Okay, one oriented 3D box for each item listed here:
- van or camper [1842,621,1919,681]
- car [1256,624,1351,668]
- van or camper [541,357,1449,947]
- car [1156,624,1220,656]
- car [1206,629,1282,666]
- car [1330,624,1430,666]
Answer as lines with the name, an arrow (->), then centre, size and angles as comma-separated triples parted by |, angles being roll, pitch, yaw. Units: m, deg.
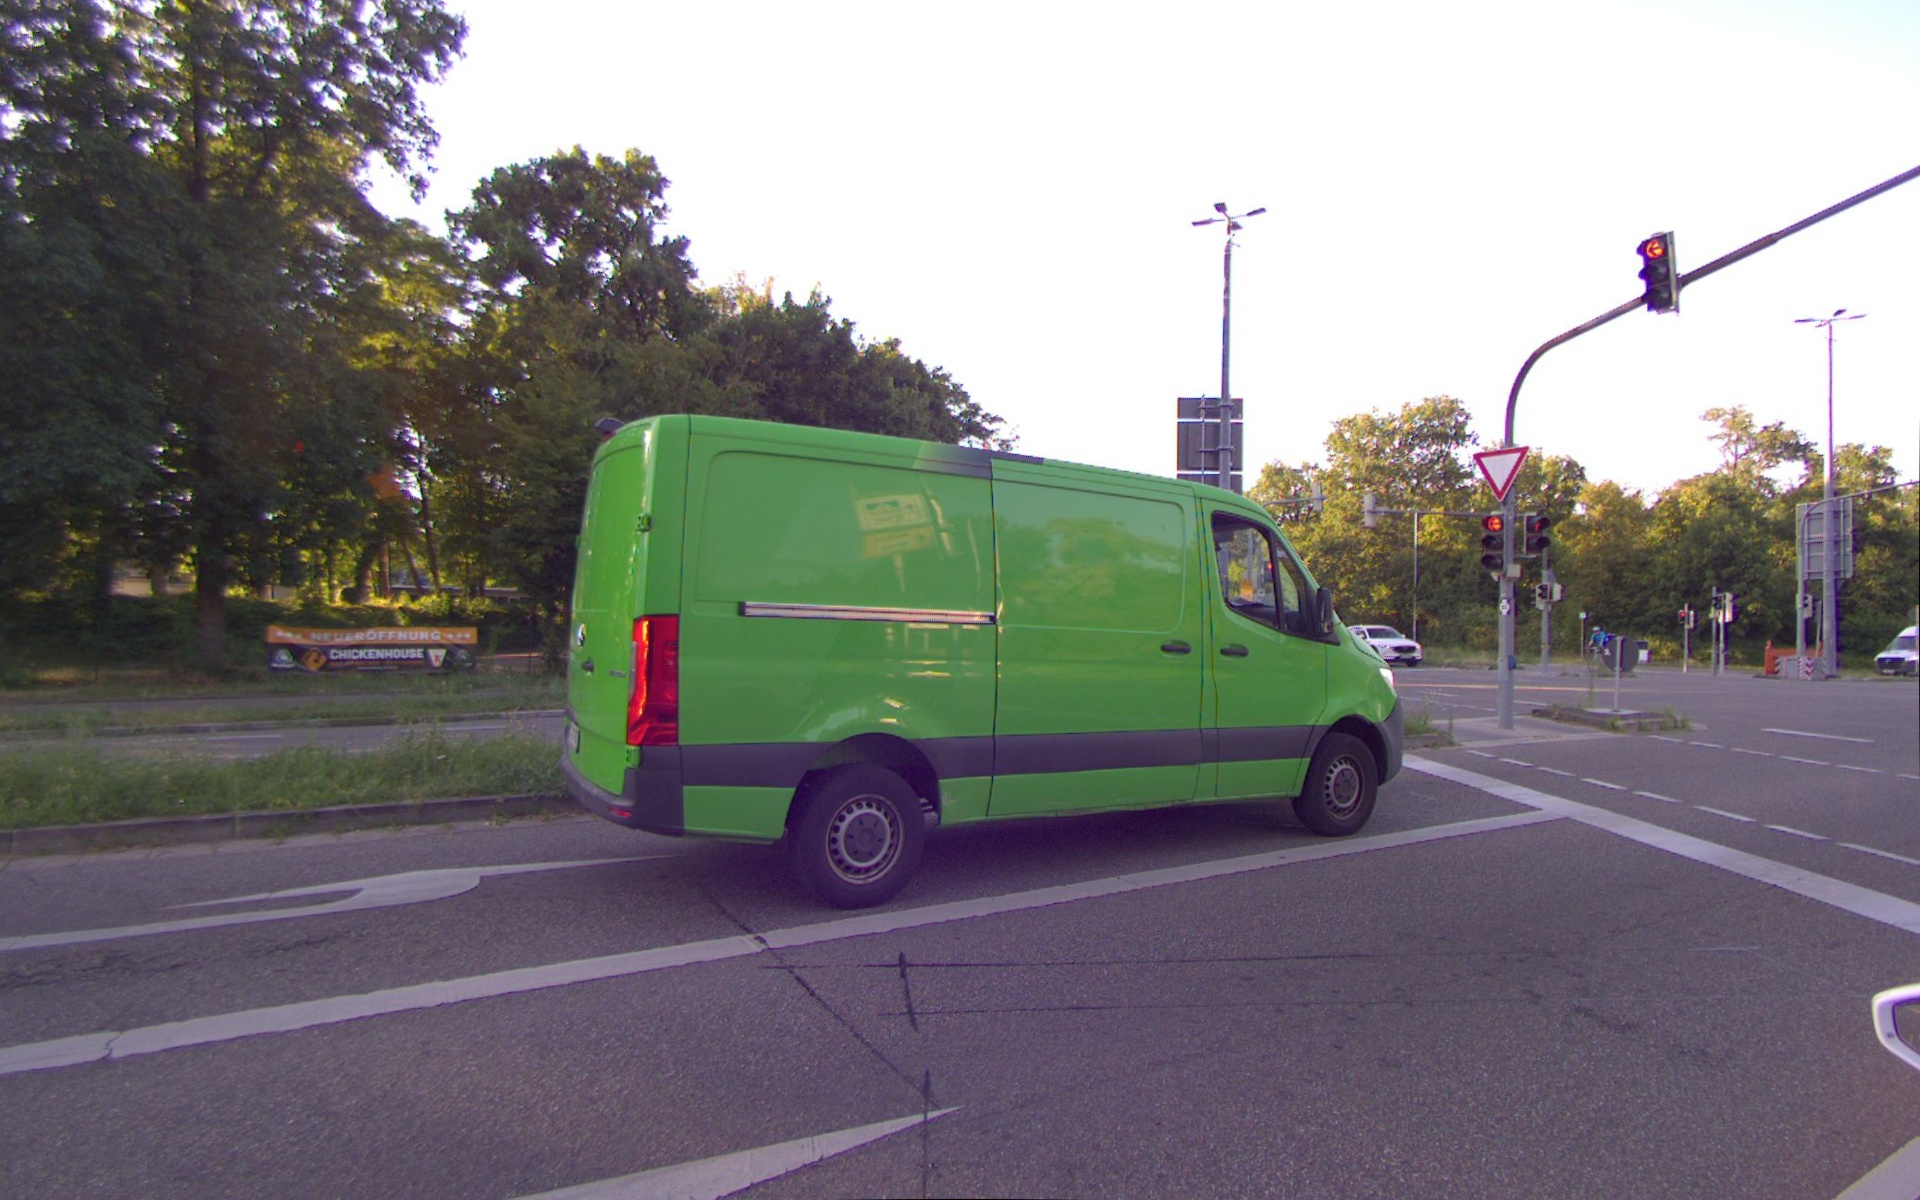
van or camper -> 46.218, 2.403, 47.581 | 6.992, 2.687, 2.891 | 1, -1, -9
car -> 13.820, 1.817, 40.702 | 1.963, 1.661, 4.252 | 1, -1, -8
van or camper -> 0.548, 0.294, 6.570 | 5.830, 2.453, 1.983 | 2, -1, -32
car -> 12.697, 2.219, 56.204 | 1.964, 1.661, 4.250 | 1, -1, -10
car -> 13.510, 2.229, 48.051 | 1.963, 1.661, 4.252 | 1, -1, -8
car -> 17.507, 1.851, 42.109 | 1.963, 1.661, 4.252 | 1, -1, -8
